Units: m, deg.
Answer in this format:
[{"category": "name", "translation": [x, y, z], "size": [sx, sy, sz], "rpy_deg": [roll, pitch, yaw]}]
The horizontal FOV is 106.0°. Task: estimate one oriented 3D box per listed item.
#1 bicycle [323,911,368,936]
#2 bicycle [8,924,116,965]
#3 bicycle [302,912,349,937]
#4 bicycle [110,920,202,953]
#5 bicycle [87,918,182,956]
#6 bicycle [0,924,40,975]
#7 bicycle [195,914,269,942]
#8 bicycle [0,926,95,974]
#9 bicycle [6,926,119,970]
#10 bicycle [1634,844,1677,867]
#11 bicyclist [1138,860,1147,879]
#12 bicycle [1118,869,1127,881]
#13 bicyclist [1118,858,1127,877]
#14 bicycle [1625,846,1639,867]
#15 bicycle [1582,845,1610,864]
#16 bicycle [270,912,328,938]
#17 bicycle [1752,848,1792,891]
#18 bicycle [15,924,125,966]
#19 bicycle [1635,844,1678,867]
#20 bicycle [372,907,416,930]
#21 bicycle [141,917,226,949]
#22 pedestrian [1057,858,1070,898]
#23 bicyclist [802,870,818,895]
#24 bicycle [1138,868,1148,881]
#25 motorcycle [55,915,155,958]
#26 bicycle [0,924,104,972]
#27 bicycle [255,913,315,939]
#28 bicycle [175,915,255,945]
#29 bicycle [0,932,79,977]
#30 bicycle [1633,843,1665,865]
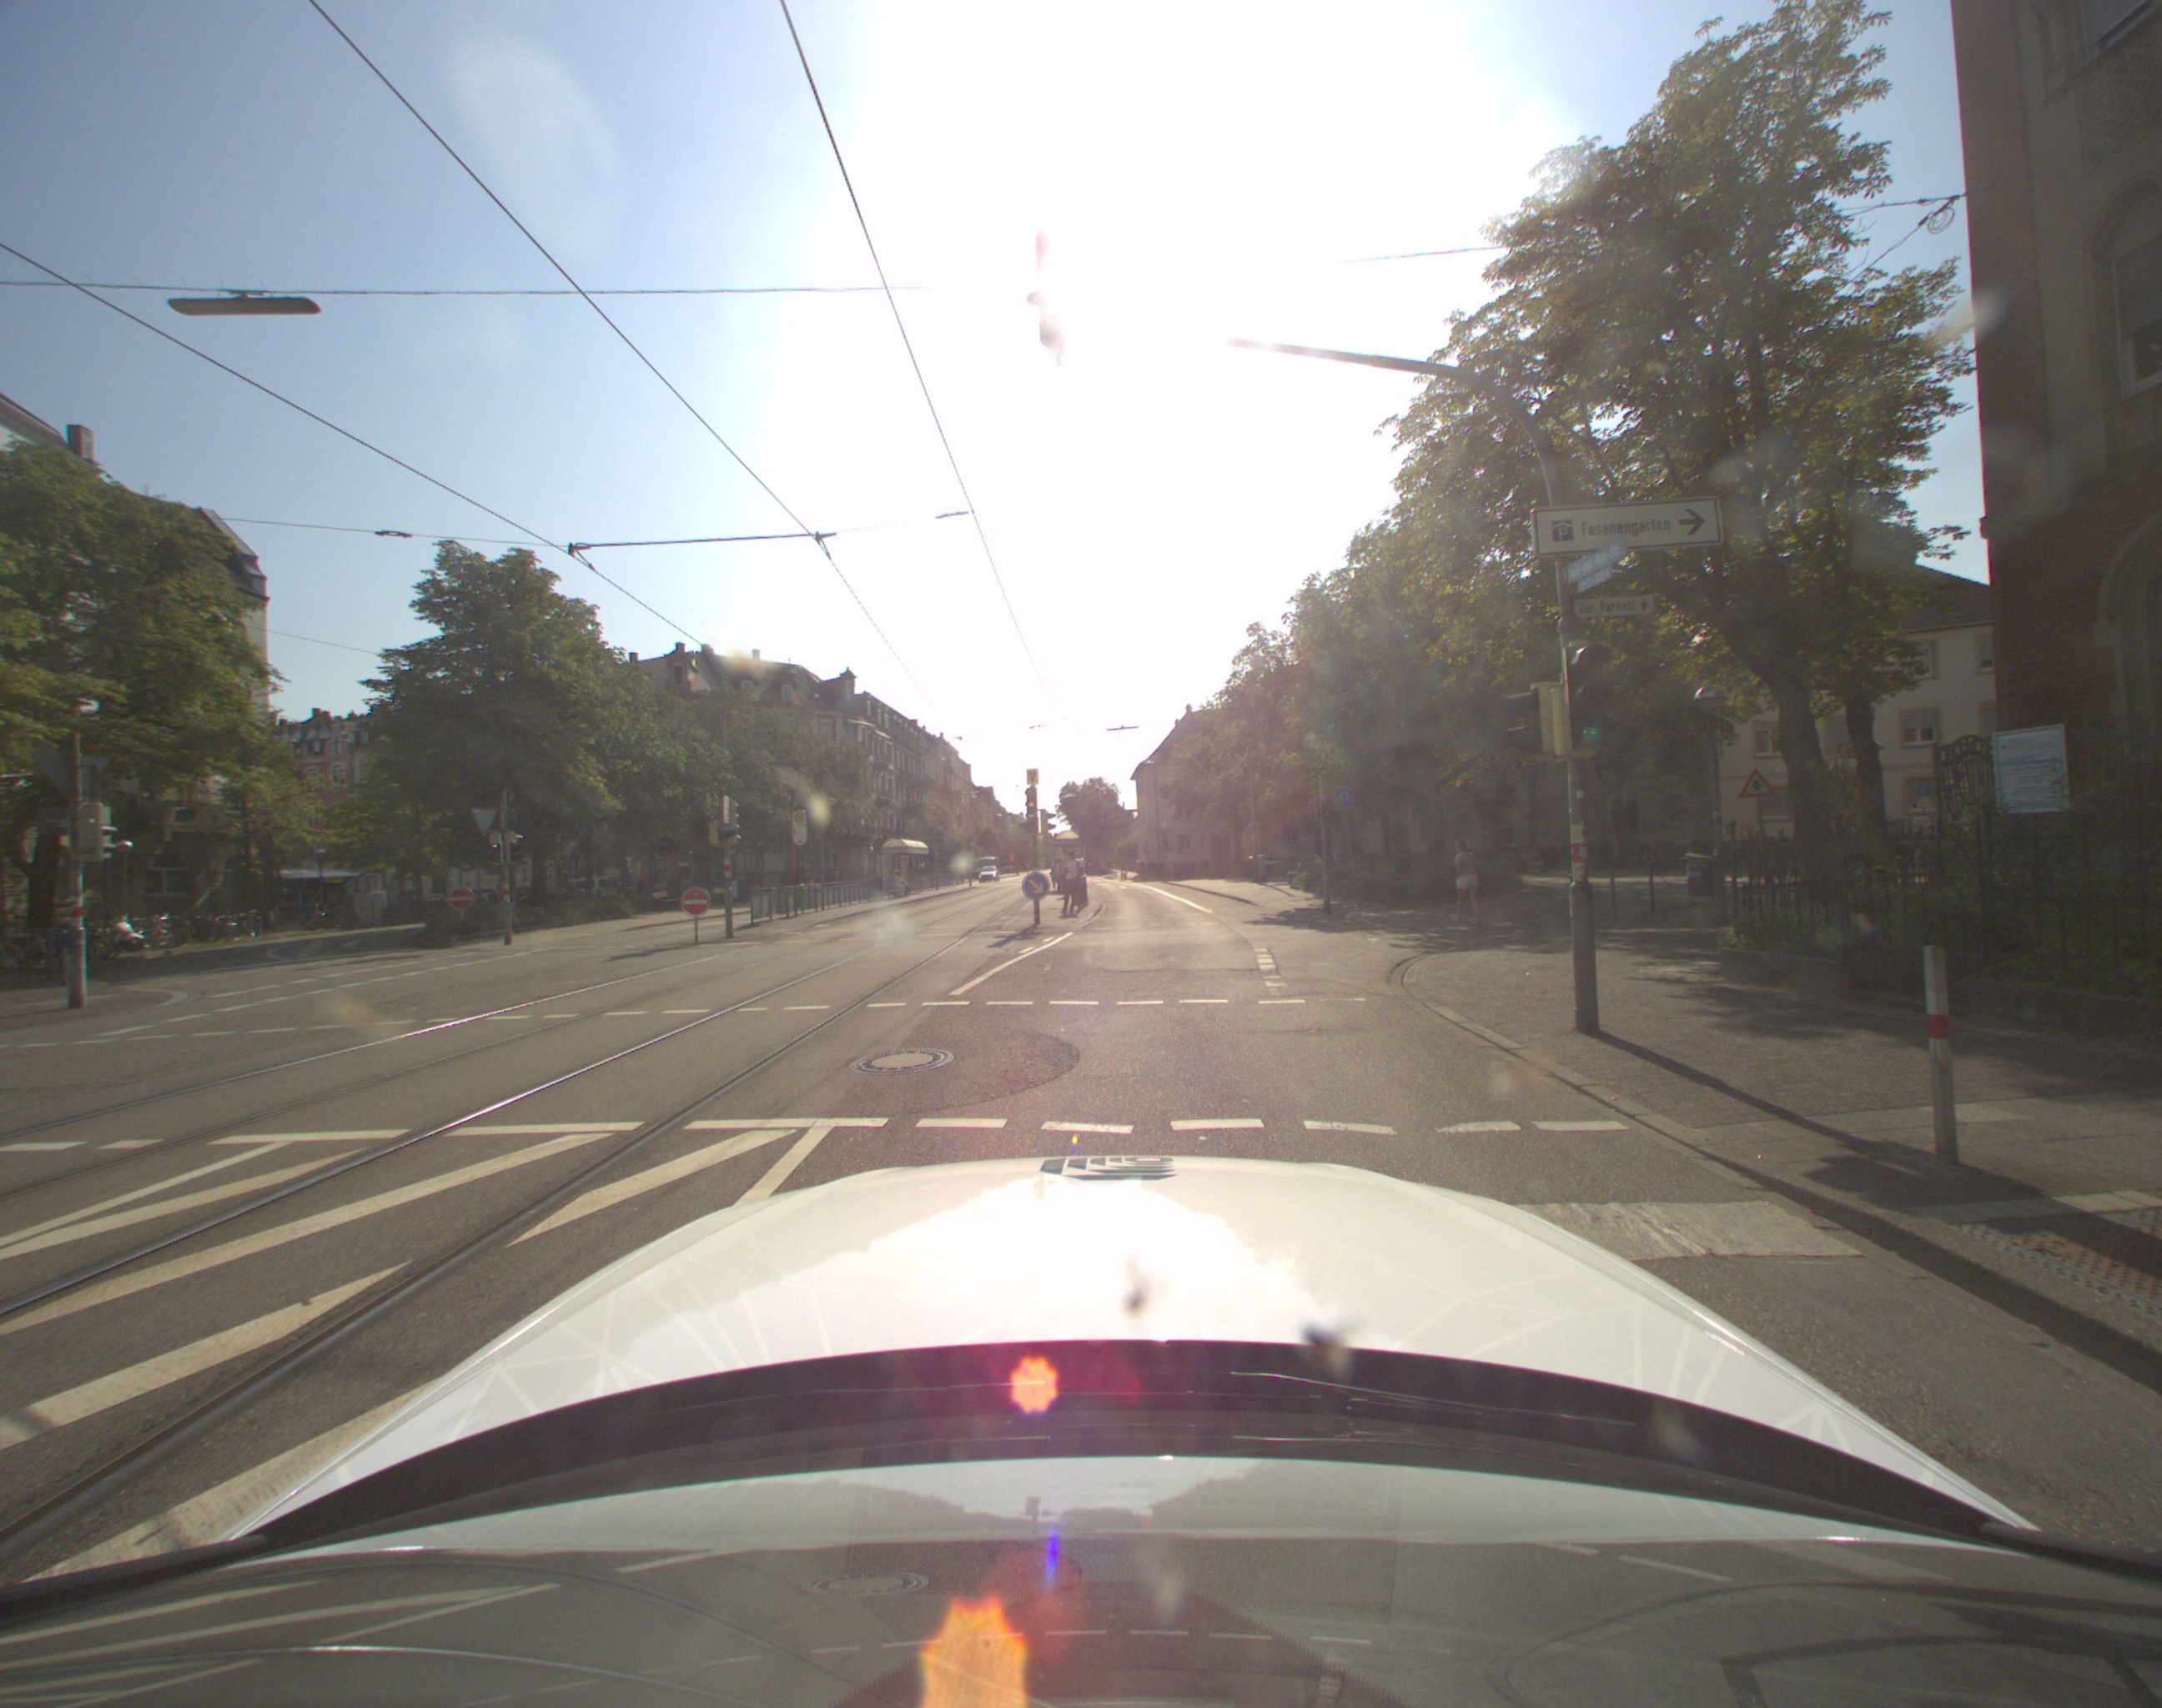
[{"category": "bicycle", "translation": [-33.431, 3.136, 37.039], "size": [0.423, 0.978, 1.770], "rpy_deg": [-3, -1, 0]}, {"category": "bicycle", "translation": [-28.841, 2.551, 23.092], "size": [1.814, 0.977, 0.652], "rpy_deg": [-1, -2, -41]}, {"category": "bicycle", "translation": [-33.805, 3.138, 36.452], "size": [0.423, 0.978, 1.770], "rpy_deg": [-3, -1, 0]}, {"category": "bicycle", "translation": [-31.262, 2.767, 27.554], "size": [1.919, 0.935, 0.730], "rpy_deg": [-1, -2, -34]}, {"category": "bicycle", "translation": [-30.673, 2.675, 26.433], "size": [1.886, 1.027, 0.657], "rpy_deg": [-1, -2, -34]}, {"category": "bicycle", "translation": [-25.056, 2.207, 18.338], "size": [0.563, 1.113, 1.888], "rpy_deg": [-3, -2, 21]}, {"category": "bicycle", "translation": [-32.981, 2.882, 31.660], "size": [1.877, 0.935, 0.635], "rpy_deg": [-2, -2, -18]}, {"category": "bicycle", "translation": [-25.206, 2.320, 19.578], "size": [0.562, 1.003, 1.890], "rpy_deg": [-3, -2, 37]}, {"category": "bicycle", "translation": [-27.127, 2.477, 21.737], "size": [1.814, 0.984, 0.563], "rpy_deg": [-1, -2, -41]}, {"category": "bicycle", "translation": [27.110, 0.063, 38.440], "size": [1.539, 0.978, 0.427], "rpy_deg": [-3, -1, 15]}, {"category": "bicyclist", "translation": [4.731, 1.173, 62.613], "size": [0.556, 1.417, 0.871], "rpy_deg": [-3, -1, -1]}, {"category": "bicycle", "translation": [3.419, 1.711, 67.288], "size": [0.627, 0.978, 1.769], "rpy_deg": [-3, -1, -1]}, {"category": "bicyclist", "translation": [3.395, 1.100, 67.295], "size": [0.627, 1.507, 0.678], "rpy_deg": [-3, -1, -1]}, {"category": "bicycle", "translation": [26.849, 0.106, 39.703], "size": [0.420, 0.978, 1.566], "rpy_deg": [-3, -1, 38]}, {"category": "bicycle", "translation": [28.121, 0.044, 44.473], "size": [0.423, 0.978, 1.554], "rpy_deg": [-3, -1, -2]}, {"category": "bicycle", "translation": [-35.039, 3.171, 36.514], "size": [1.772, 0.978, 0.600], "rpy_deg": [-3, -1, -23]}, {"category": "bicycle", "translation": [17.447, 0.380, 20.545], "size": [1.779, 0.978, 0.421], "rpy_deg": [-2, -1, -39]}, {"category": "bicycle", "translation": [-27.983, 2.502, 22.576], "size": [1.814, 0.983, 0.652], "rpy_deg": [-1, -2, -41]}, {"category": "bicycle", "translation": [26.943, 0.079, 38.137], "size": [1.539, 0.978, 0.427], "rpy_deg": [-3, -1, 15]}, {"category": "bicycle", "translation": [-34.054, 3.197, 40.356], "size": [1.754, 0.978, 0.606], "rpy_deg": [-3, -1, 7]}, {"category": "bicycle", "translation": [-31.863, 2.788, 28.957], "size": [1.908, 0.980, 0.679], "rpy_deg": [-1, -2, -34]}, {"category": "pedestrian", "translation": [-0.783, 1.065, 36.570], "size": [0.541, 1.759, 0.534], "rpy_deg": [0, 1, 0]}, {"category": "bicyclist", "translation": [-20.819, 2.178, 62.643], "size": [0.994, 1.857, 0.487], "rpy_deg": [-2, -1, -39]}, {"category": "bicycle", "translation": [4.756, 1.555, 62.594], "size": [0.556, 0.978, 1.855], "rpy_deg": [-3, -1, -1]}, {"category": "motorcycle", "translation": [-30.375, 2.551, 25.382], "size": [1.882, 1.154, 0.601], "rpy_deg": [-1, -2, -34]}, {"category": "bicycle", "translation": [-26.267, 2.374, 20.605], "size": [1.887, 1.034, 0.563], "rpy_deg": [-1, -2, -39]}, {"category": "bicycle", "translation": [-34.911, 3.162, 35.737], "size": [1.771, 0.978, 0.516], "rpy_deg": [-3, -1, -22]}, {"category": "bicycle", "translation": [-32.204, 2.816, 30.319], "size": [1.908, 0.980, 0.679], "rpy_deg": [-1, -2, -34]}, {"category": "bicycle", "translation": [-24.160, 2.303, 18.558], "size": [0.473, 0.920, 1.619], "rpy_deg": [-3, -2, 30]}, {"category": "bicycle", "translation": [27.774, 0.000, 39.818], "size": [1.555, 1.039, 0.423], "rpy_deg": [-3, -1, -19]}]
